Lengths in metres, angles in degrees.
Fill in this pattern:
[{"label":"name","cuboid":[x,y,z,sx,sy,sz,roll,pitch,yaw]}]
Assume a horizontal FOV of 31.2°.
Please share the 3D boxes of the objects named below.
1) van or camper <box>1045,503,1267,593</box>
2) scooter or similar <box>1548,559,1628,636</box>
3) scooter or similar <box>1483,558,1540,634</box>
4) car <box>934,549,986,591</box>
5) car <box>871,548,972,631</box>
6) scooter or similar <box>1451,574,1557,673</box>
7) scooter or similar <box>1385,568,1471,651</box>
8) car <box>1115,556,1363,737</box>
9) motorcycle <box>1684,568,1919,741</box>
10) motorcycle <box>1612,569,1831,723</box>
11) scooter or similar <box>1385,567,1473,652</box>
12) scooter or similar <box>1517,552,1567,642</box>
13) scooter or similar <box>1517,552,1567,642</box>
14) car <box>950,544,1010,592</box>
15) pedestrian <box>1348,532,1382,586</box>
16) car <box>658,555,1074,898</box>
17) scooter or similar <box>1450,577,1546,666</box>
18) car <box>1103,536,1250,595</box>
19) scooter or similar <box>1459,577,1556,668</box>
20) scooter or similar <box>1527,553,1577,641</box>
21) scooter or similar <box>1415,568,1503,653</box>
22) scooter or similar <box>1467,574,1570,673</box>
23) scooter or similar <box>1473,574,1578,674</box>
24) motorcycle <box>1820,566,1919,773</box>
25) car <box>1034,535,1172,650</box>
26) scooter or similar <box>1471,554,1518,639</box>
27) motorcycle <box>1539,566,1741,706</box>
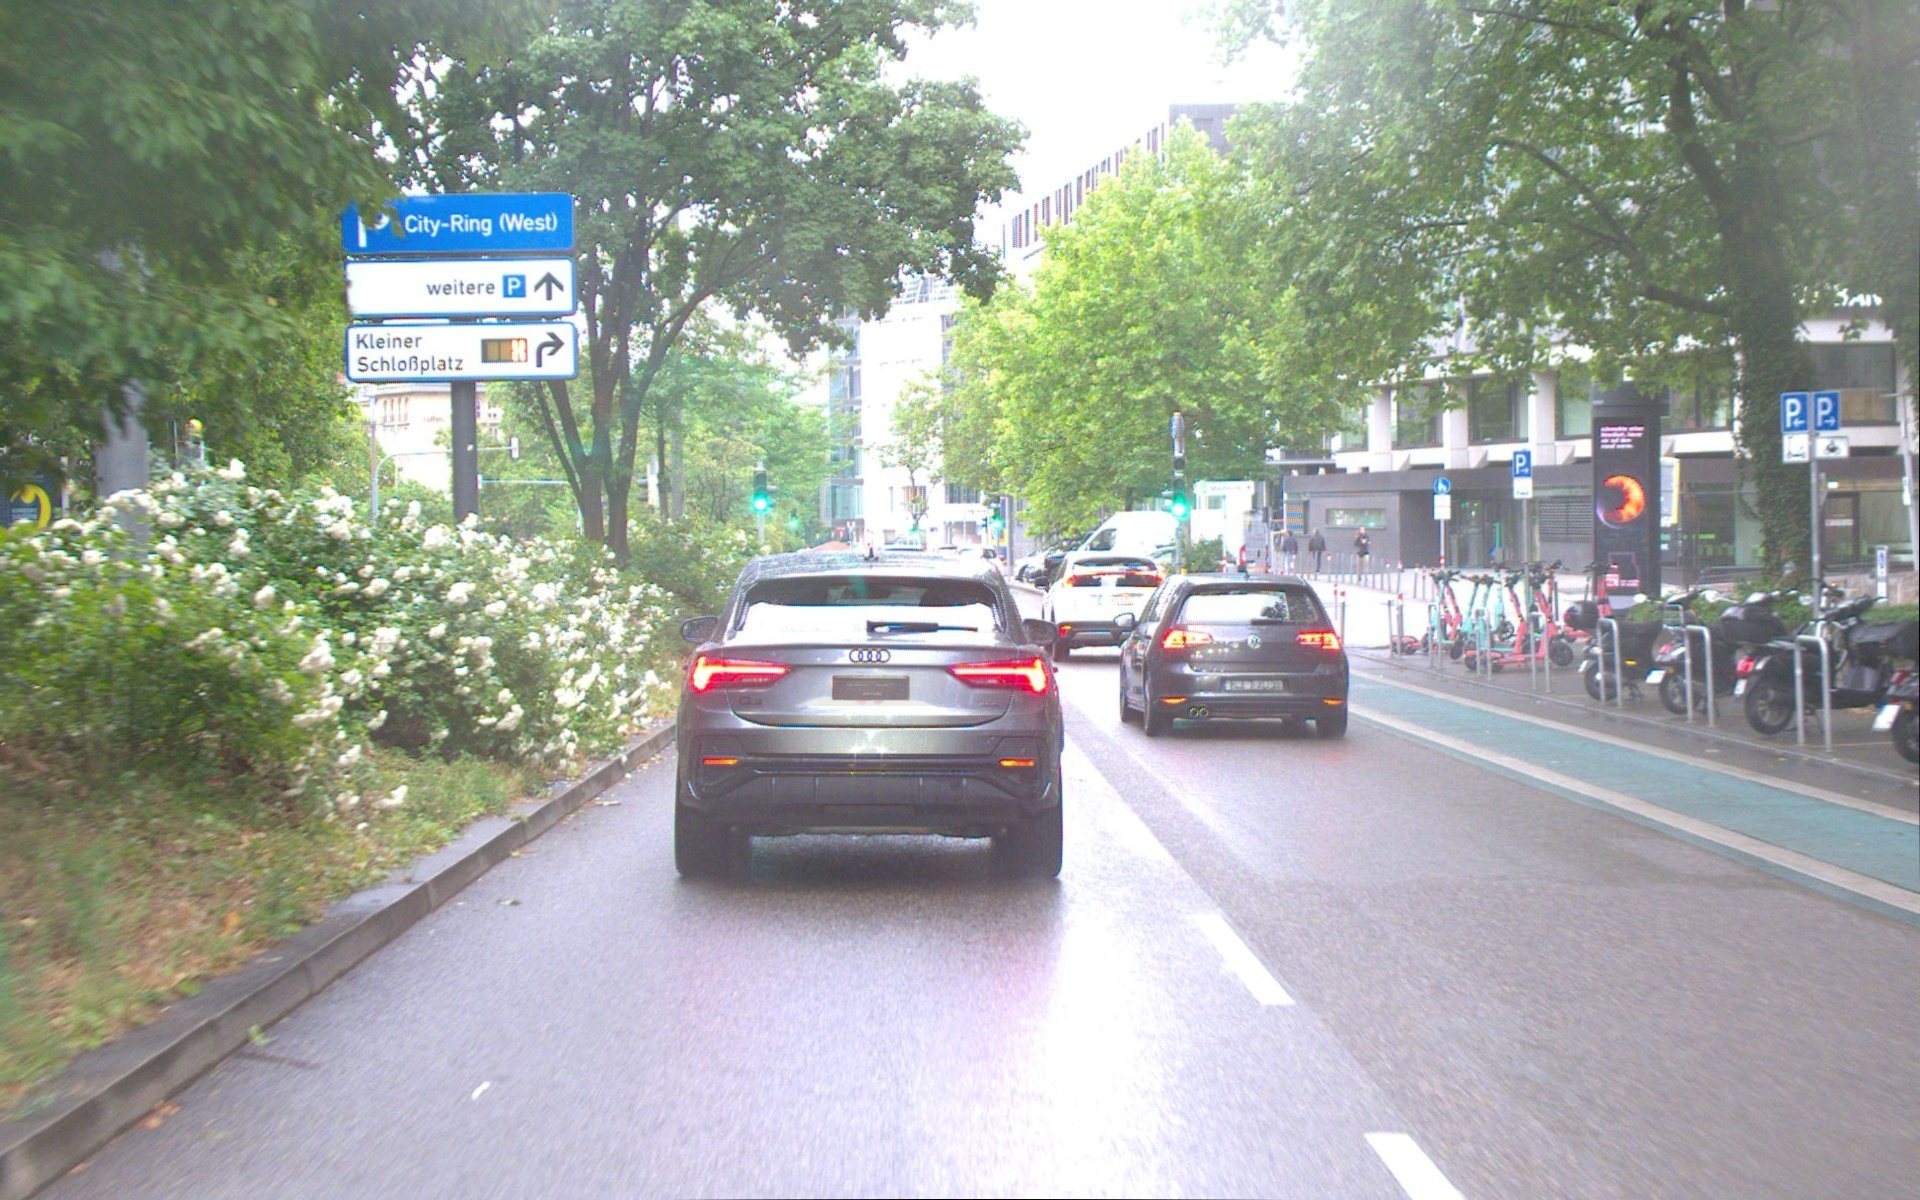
[{"label":"van or camper","cuboid":[5.645,-1.503,99.406,6.074,2.549,2.102,0,1,26]},{"label":"scooter or similar","cuboid":[9.865,-0.045,54.024,0.487,1.193,1.293,0,0,-31]},{"label":"scooter or similar","cuboid":[8.691,-0.064,54.241,0.487,1.193,1.294,0,0,-10]},{"label":"car","cuboid":[-0.009,-1.132,127.668,1.849,1.518,4.039,0,1,-1]},{"label":"car","cuboid":[-0.747,-0.220,65.731,1.849,1.518,4.039,0,1,-1]},{"label":"scooter or similar","cuboid":[7.339,0.310,46.421,1.289,1.274,0.537,-2,2,-11]},{"label":"scooter or similar","cuboid":[7.266,0.146,53.362,1.290,1.255,0.489,-1,2,11]},{"label":"car","cuboid":[2.452,0.368,31.152,1.849,1.518,4.039,0,1,-1]},{"label":"motorcycle","cuboid":[7.246,0.449,29.431,1.955,1.369,0.729,-2,3,-22]},{"label":"motorcycle","cuboid":[7.281,0.425,32.864,1.955,1.369,0.729,-2,3,-22]},{"label":"scooter or similar","cuboid":[7.198,0.146,52.750,1.290,1.255,0.489,-1,2,11]},{"label":"scooter or similar","cuboid":[8.535,-0.059,50.448,0.487,1.255,1.294,-1,2,-1]},{"label":"scooter or similar","cuboid":[8.535,-0.059,50.448,0.487,1.255,1.294,-1,2,-1]},{"label":"car","cuboid":[0.635,-1.044,111.014,1.849,1.518,4.039,0,1,-1]},{"label":"pedestrian","cuboid":[12.727,-1.295,108.169,0.805,1.690,1.187,1,1,-5]},{"label":"car","cuboid":[-0.477,0.543,17.407,1.849,1.518,4.039,0,1,-2]},{"label":"scooter or similar","cuboid":[7.718,0.310,49.306,1.289,1.231,0.489,-1,2,2]},{"label":"car","cuboid":[5.871,-0.944,93.293,3.652,1.542,1.713,1,1,18]},{"label":"scooter or similar","cuboid":[7.732,0.312,48.561,1.289,1.231,0.489,-1,2,2]},{"label":"scooter or similar","cuboid":[8.896,-0.056,51.681,0.487,1.255,1.294,-1,2,-1]},{"label":"scooter or similar","cuboid":[7.581,0.153,52.219,1.290,1.255,0.489,-1,2,11]},{"label":"scooter or similar","cuboid":[7.423,0.313,45.737,1.289,1.274,0.537,-1,2,3]},{"label":"scooter or similar","cuboid":[7.446,0.314,45.293,1.289,1.274,0.537,-1,2,3]},{"label":"motorcycle","cuboid":[7.350,0.465,25.037,2.053,1.423,0.729,-2,3,-22]},{"label":"car","cuboid":[2.125,-0.142,52.078,1.849,1.663,4.039,0,1,-1]},{"label":"scooter or similar","cuboid":[8.299,-0.068,53.383,0.487,1.255,1.294,-1,2,-1]},{"label":"motorcycle","cuboid":[7.147,0.362,36.136,1.955,1.369,0.729,-2,2,-17]}]
